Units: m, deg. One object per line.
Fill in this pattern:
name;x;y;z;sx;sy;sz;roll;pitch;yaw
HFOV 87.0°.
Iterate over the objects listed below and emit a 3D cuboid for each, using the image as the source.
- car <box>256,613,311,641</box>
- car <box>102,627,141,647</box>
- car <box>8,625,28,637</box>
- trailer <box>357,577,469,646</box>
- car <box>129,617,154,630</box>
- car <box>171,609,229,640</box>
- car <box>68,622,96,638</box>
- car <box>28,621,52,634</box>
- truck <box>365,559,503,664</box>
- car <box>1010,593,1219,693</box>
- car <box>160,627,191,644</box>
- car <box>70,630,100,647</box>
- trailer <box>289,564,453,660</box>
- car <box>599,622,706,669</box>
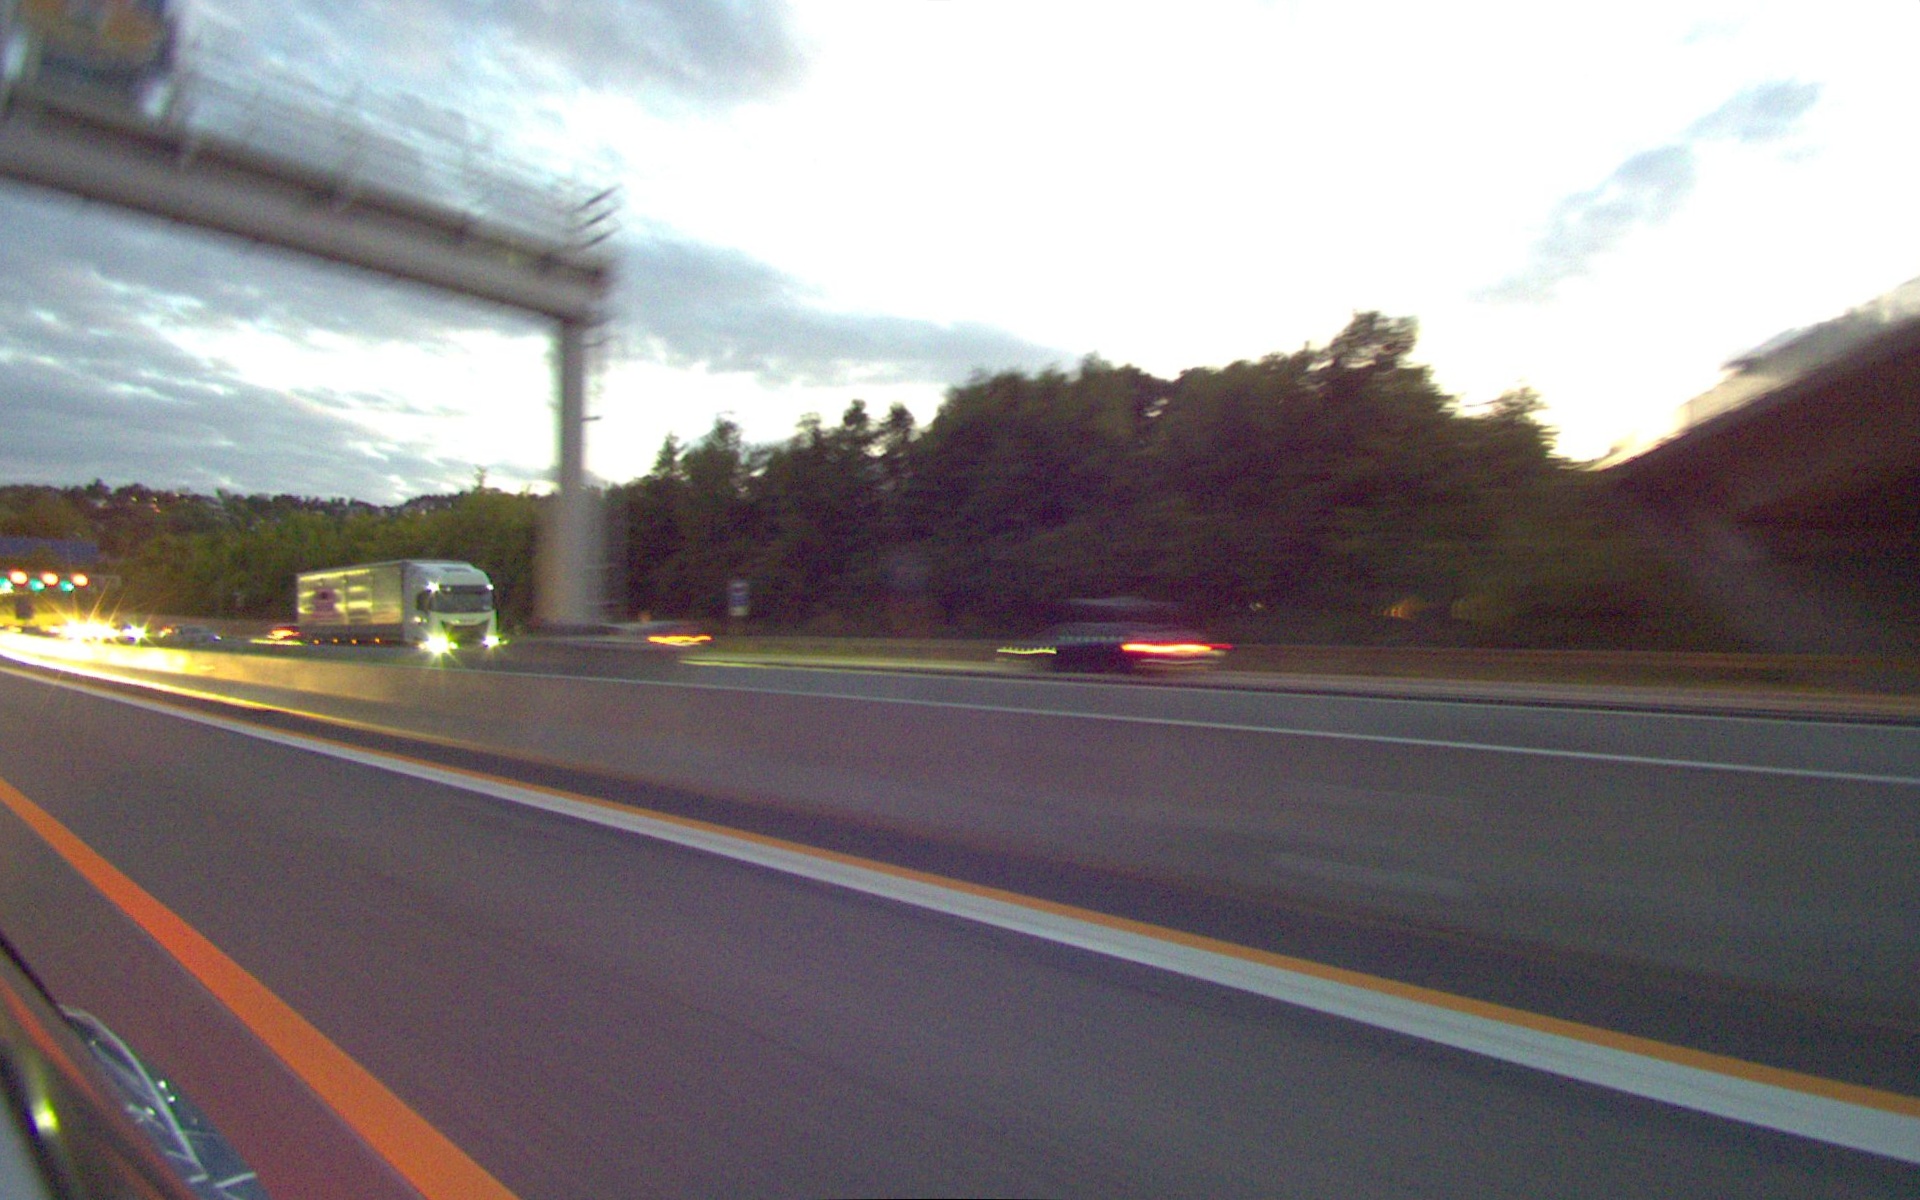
car;-44.608;1.749;66.697;4.515;1.688;1.972;-1;0;43
car;-68.988;3.025;83.241;3.997;1.492;1.769;-1;0;41
car;-136.505;4.501;146.648;4.749;1.650;1.662;-1;0;41
trailer;-36.855;0.760;67.844;12.402;4.237;2.748;-1;0;43
car;-109.149;3.164;134.937;4.749;1.650;1.785;-1;0;41
car;-50.395;1.589;67.048;4.697;1.898;2.069;-1;0;40
car;-97.369;3.359;112.243;4.889;1.650;1.718;-1;0;41
car;-124.738;3.685;137.206;4.749;1.650;1.785;-1;0;41
truck;-20.802;0.423;39.884;6.301;3.803;2.773;-1;0;42
car;3.743;0.984;25.054;4.800;2.206;1.973;-1;0;41
car;-76.973;3.460;99.223;5.033;1.616;1.574;-1;0;43
car;-79.987;3.499;92.474;3.822;1.492;1.490;-1;0;41
trailer;-26.373;0.510;44.930;11.832;3.811;2.769;-1;0;42
car;-12.347;1.777;40.475;4.580;1.686;1.973;-1;0;41
